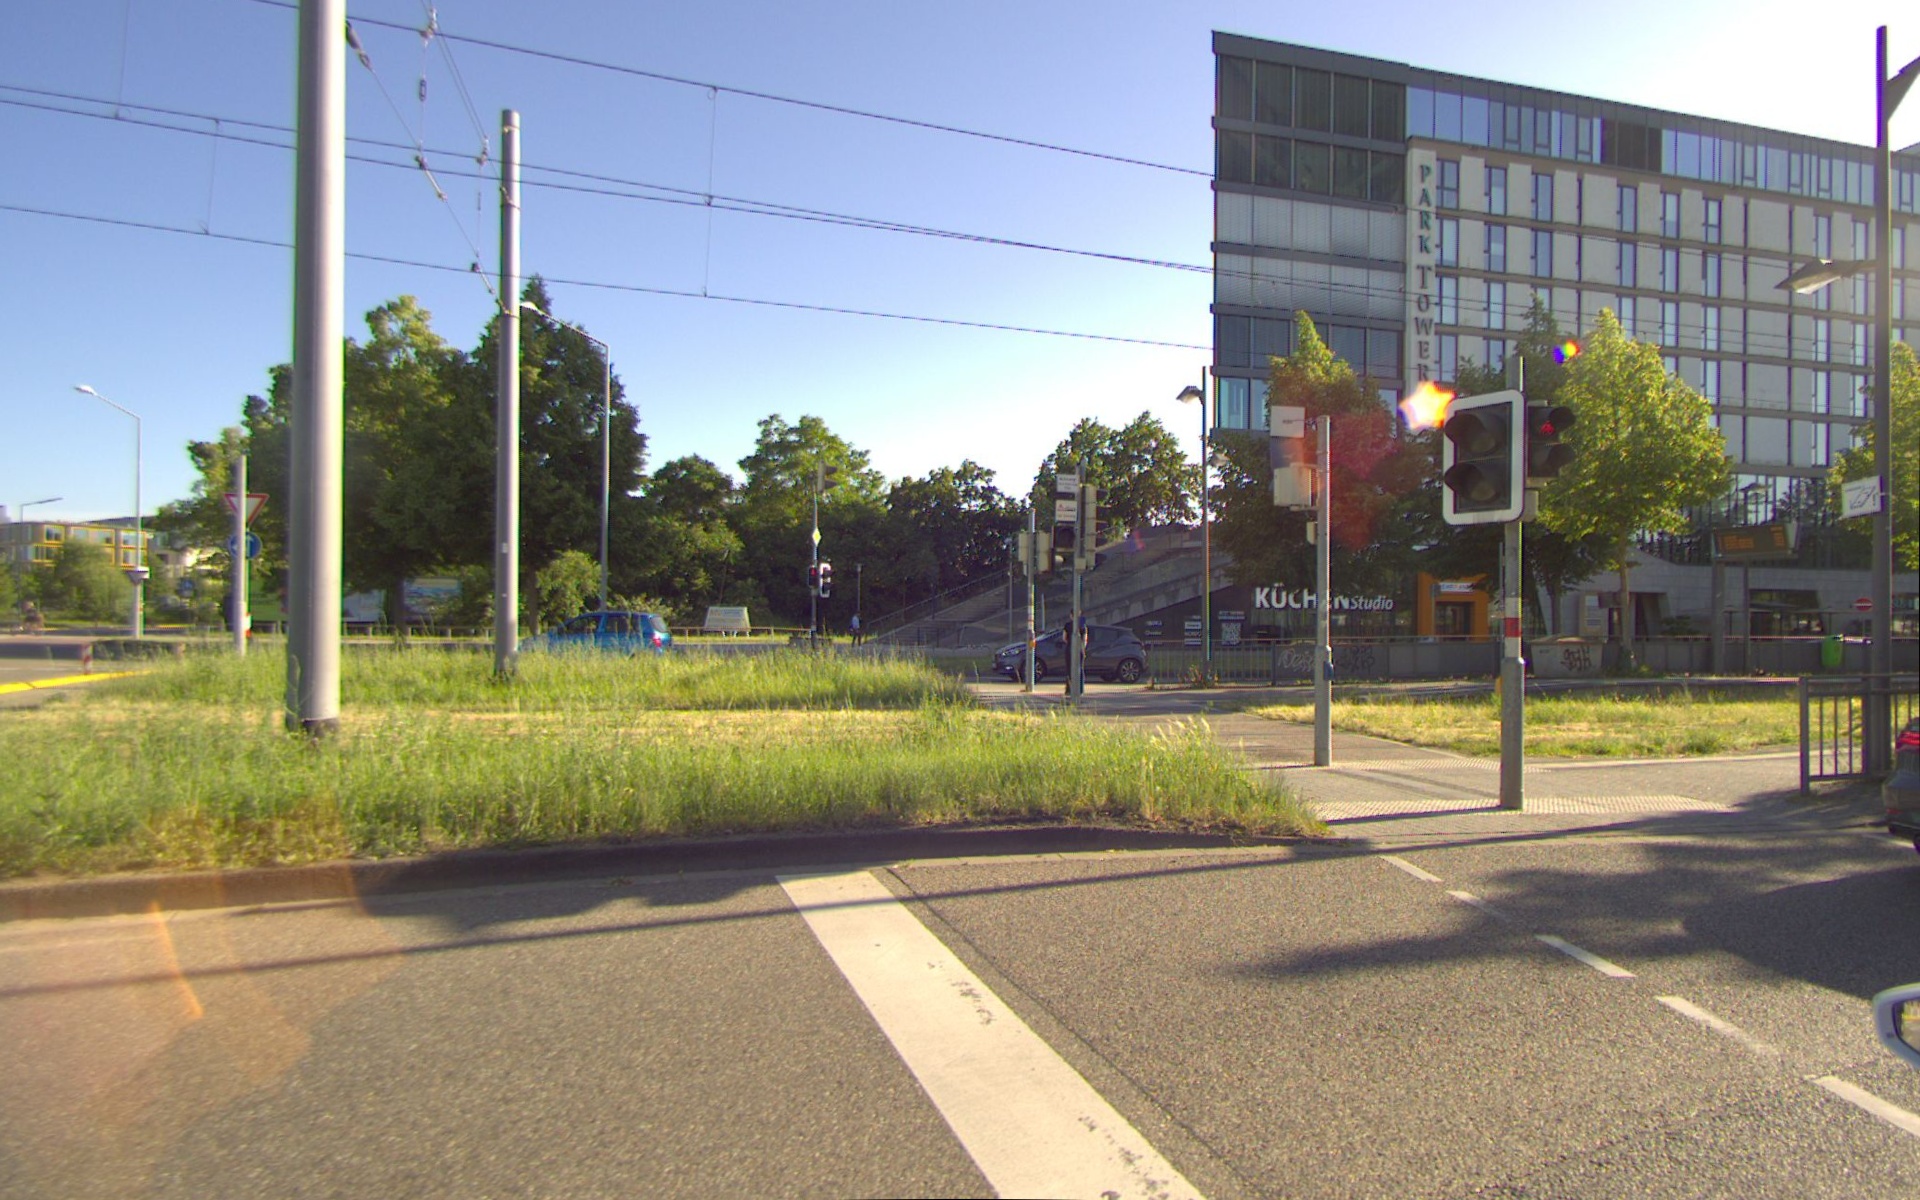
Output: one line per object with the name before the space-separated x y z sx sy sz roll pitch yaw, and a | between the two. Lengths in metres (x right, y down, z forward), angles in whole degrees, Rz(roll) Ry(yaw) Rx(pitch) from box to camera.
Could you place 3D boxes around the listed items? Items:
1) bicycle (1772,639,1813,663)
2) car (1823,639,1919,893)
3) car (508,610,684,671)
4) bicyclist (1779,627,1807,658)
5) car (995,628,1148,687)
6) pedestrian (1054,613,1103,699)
bicycle | 41.564 2.539 50.153 1.542 1.135 0.733 0 0 -9
car | 7.402 0.987 5.833 4.079 1.385 1.720 1 1 -18
car | -8.519 0.945 23.758 3.552 1.281 1.664 2 -1 -4
bicyclist | 41.604 2.113 50.150 0.817 1.483 0.721 0 0 -9
car | 2.801 1.452 25.489 3.548 1.414 1.662 1 -3 -11
pedestrian | 2.253 1.066 19.136 0.798 1.599 0.416 2 -1 -17
